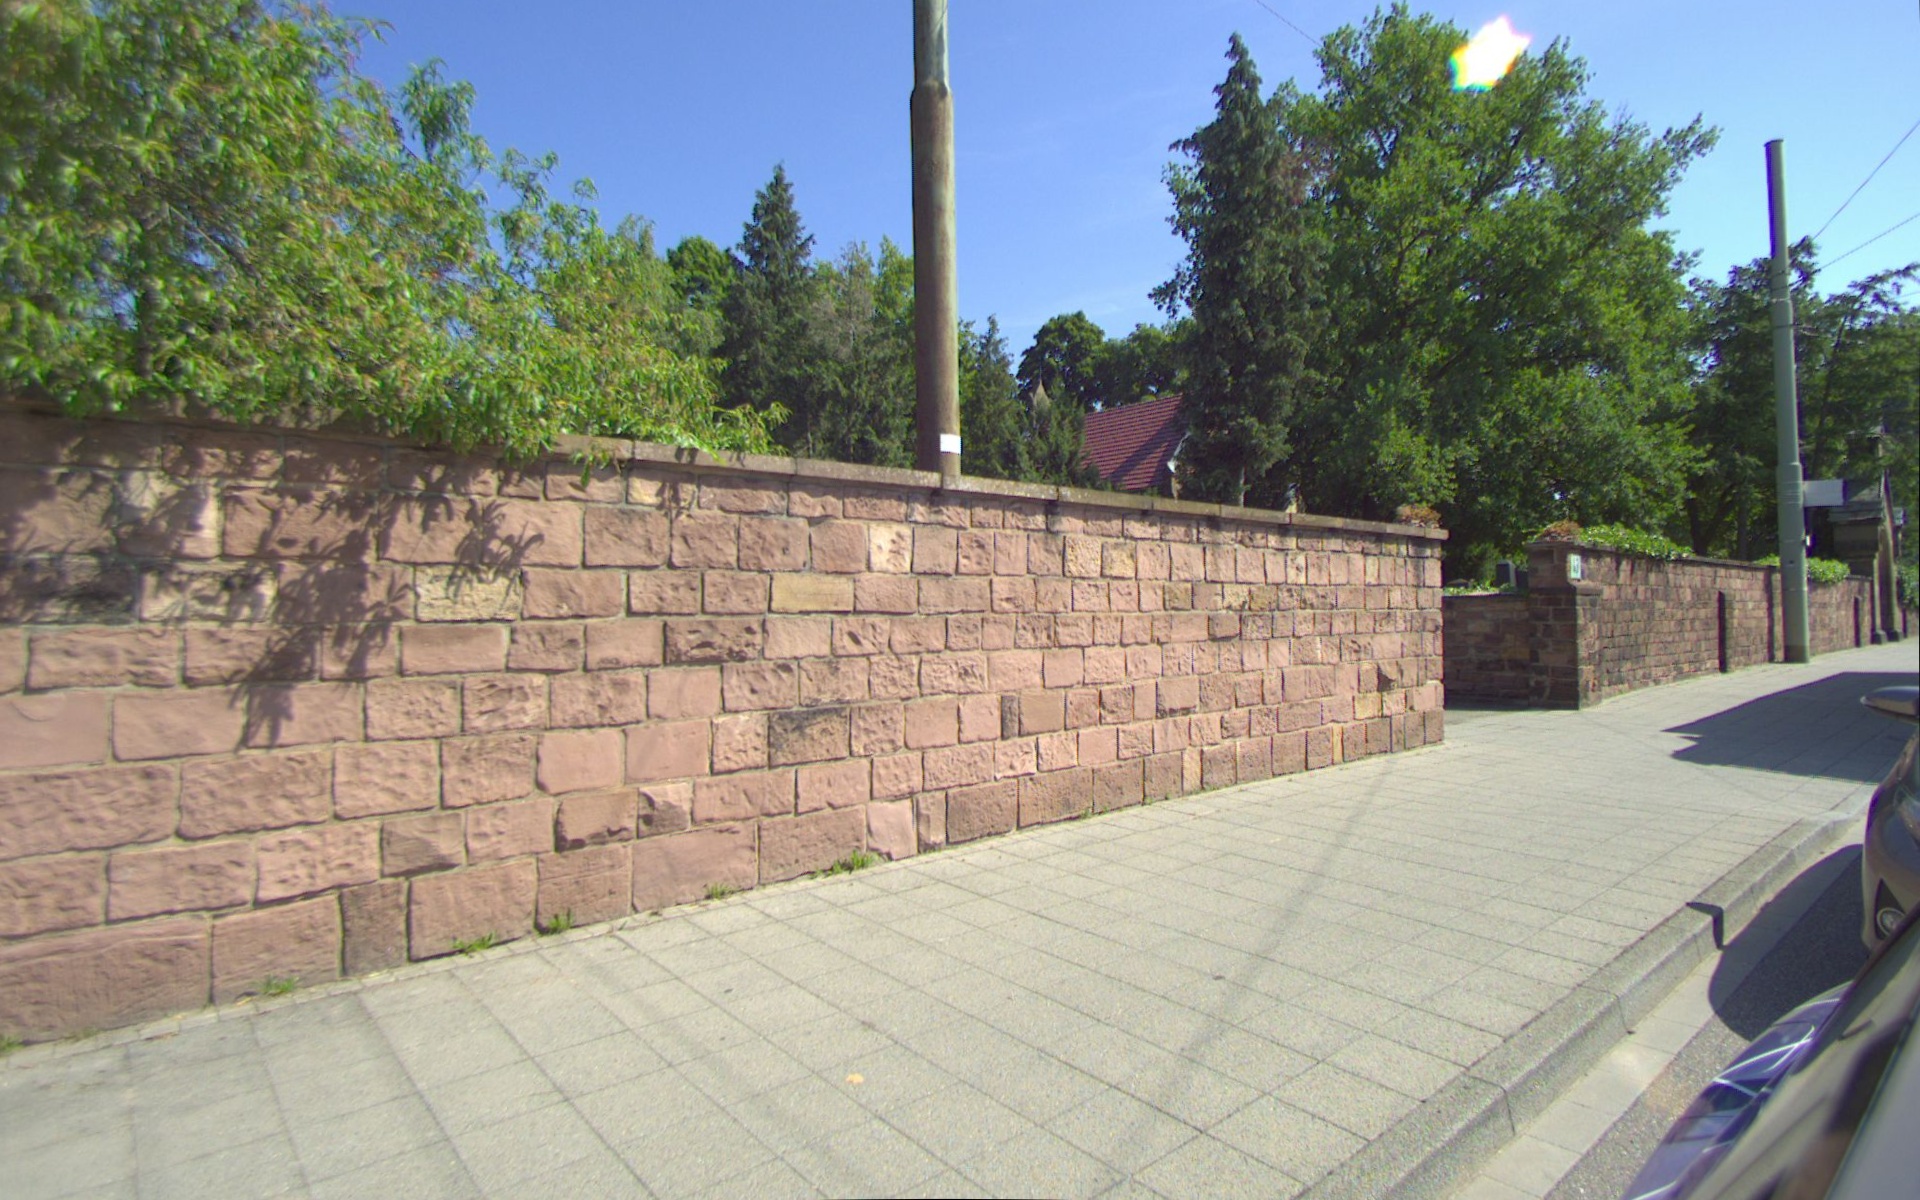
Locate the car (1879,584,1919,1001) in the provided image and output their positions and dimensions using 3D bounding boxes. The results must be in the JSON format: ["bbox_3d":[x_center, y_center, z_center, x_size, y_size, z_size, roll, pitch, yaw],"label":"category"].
[{"bbox_3d":[5.170,0.643,4.144,3.930,1.400,1.653,0,0,-41],"label":"car"}]
